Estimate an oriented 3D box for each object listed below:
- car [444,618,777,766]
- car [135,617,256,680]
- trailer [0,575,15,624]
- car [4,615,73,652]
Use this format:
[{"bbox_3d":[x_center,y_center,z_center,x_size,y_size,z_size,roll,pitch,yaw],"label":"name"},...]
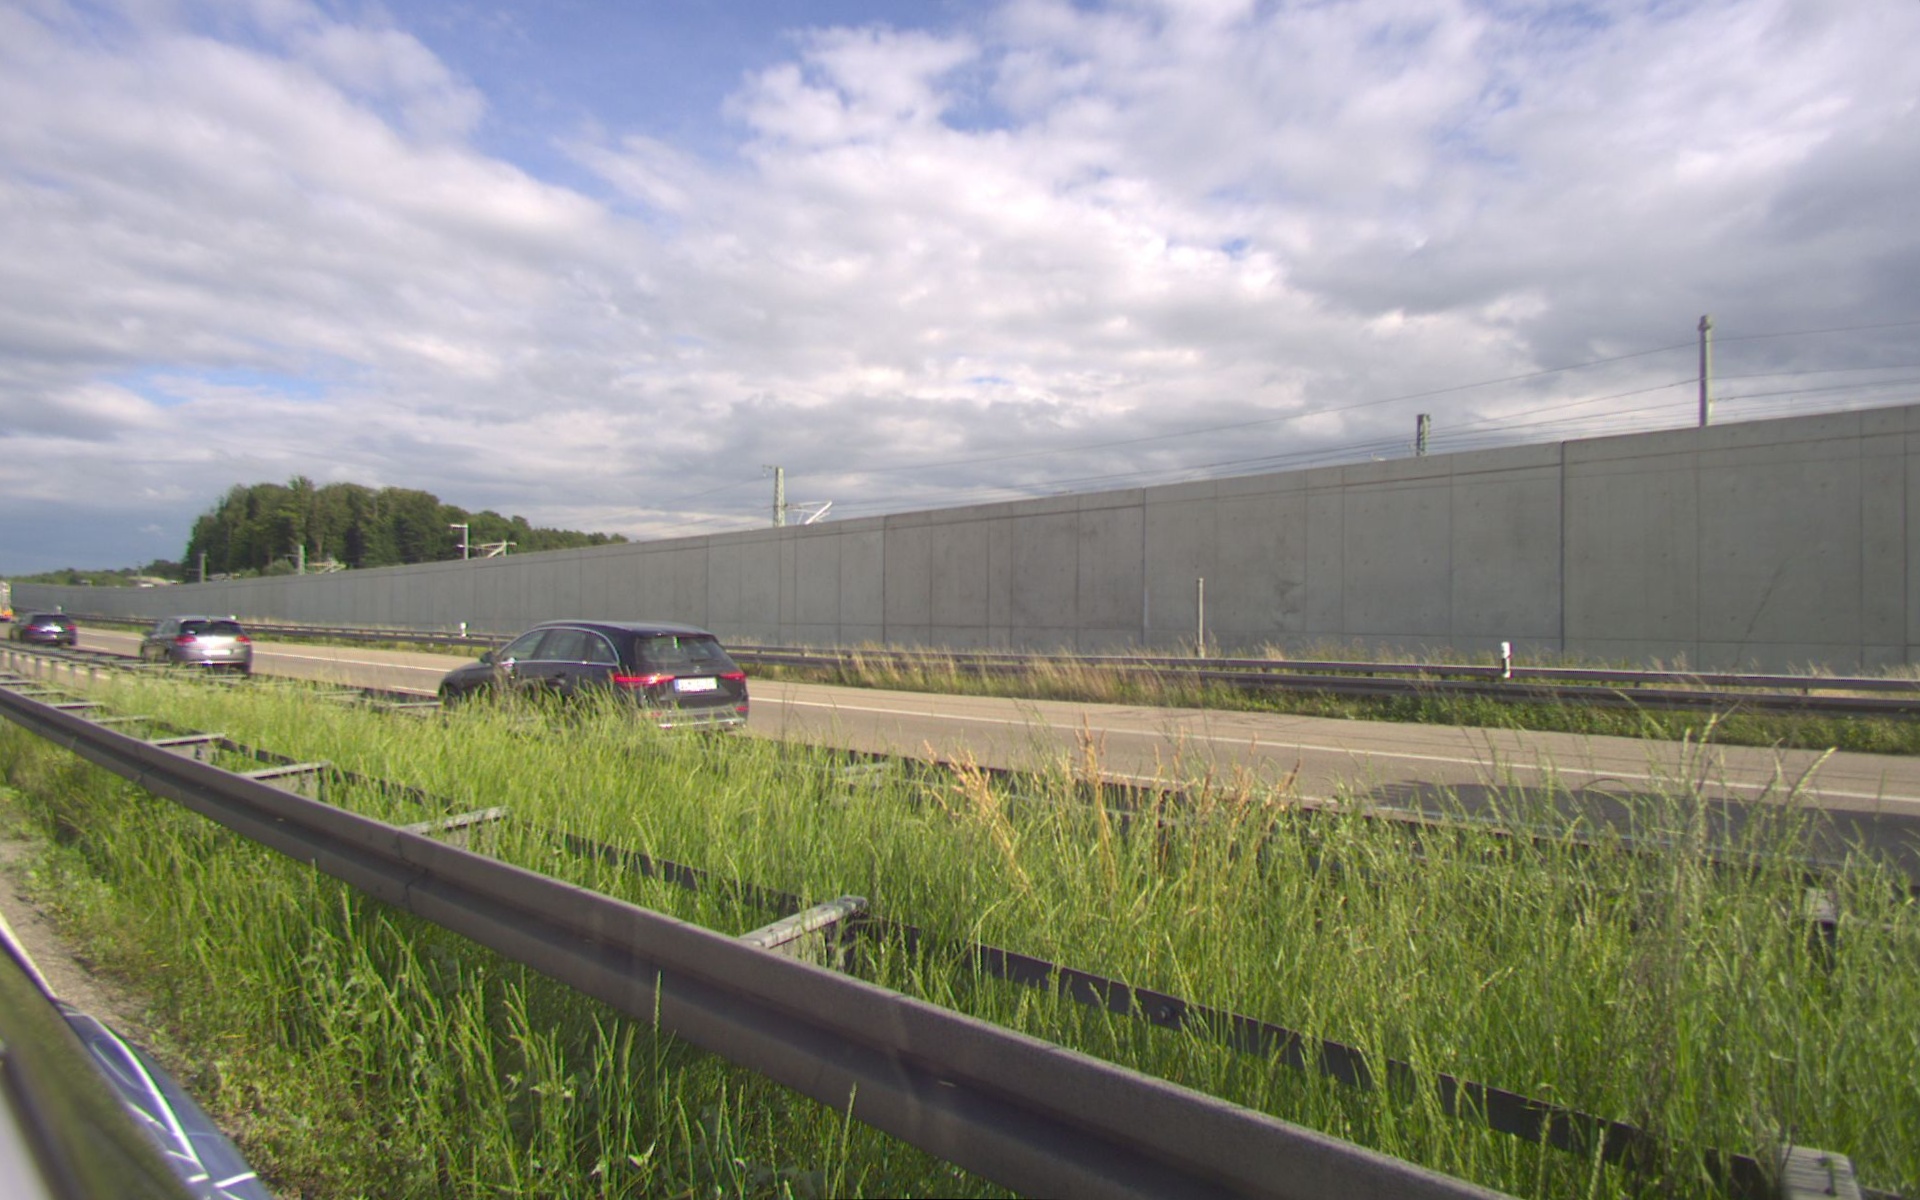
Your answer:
[{"bbox_3d":[-4.102,0.903,11.538,4.229,1.368,1.724,-1,-1,41],"label":"car"},{"bbox_3d":[-19.754,1.181,26.104,3.827,1.490,1.750,-1,-1,41],"label":"car"},{"bbox_3d":[-81.722,0.007,84.644,10.856,3.931,2.562,-1,-2,40],"label":"trailer"},{"bbox_3d":[-40.285,1.424,44.201,4.423,1.510,1.680,-1,-1,40],"label":"car"}]
